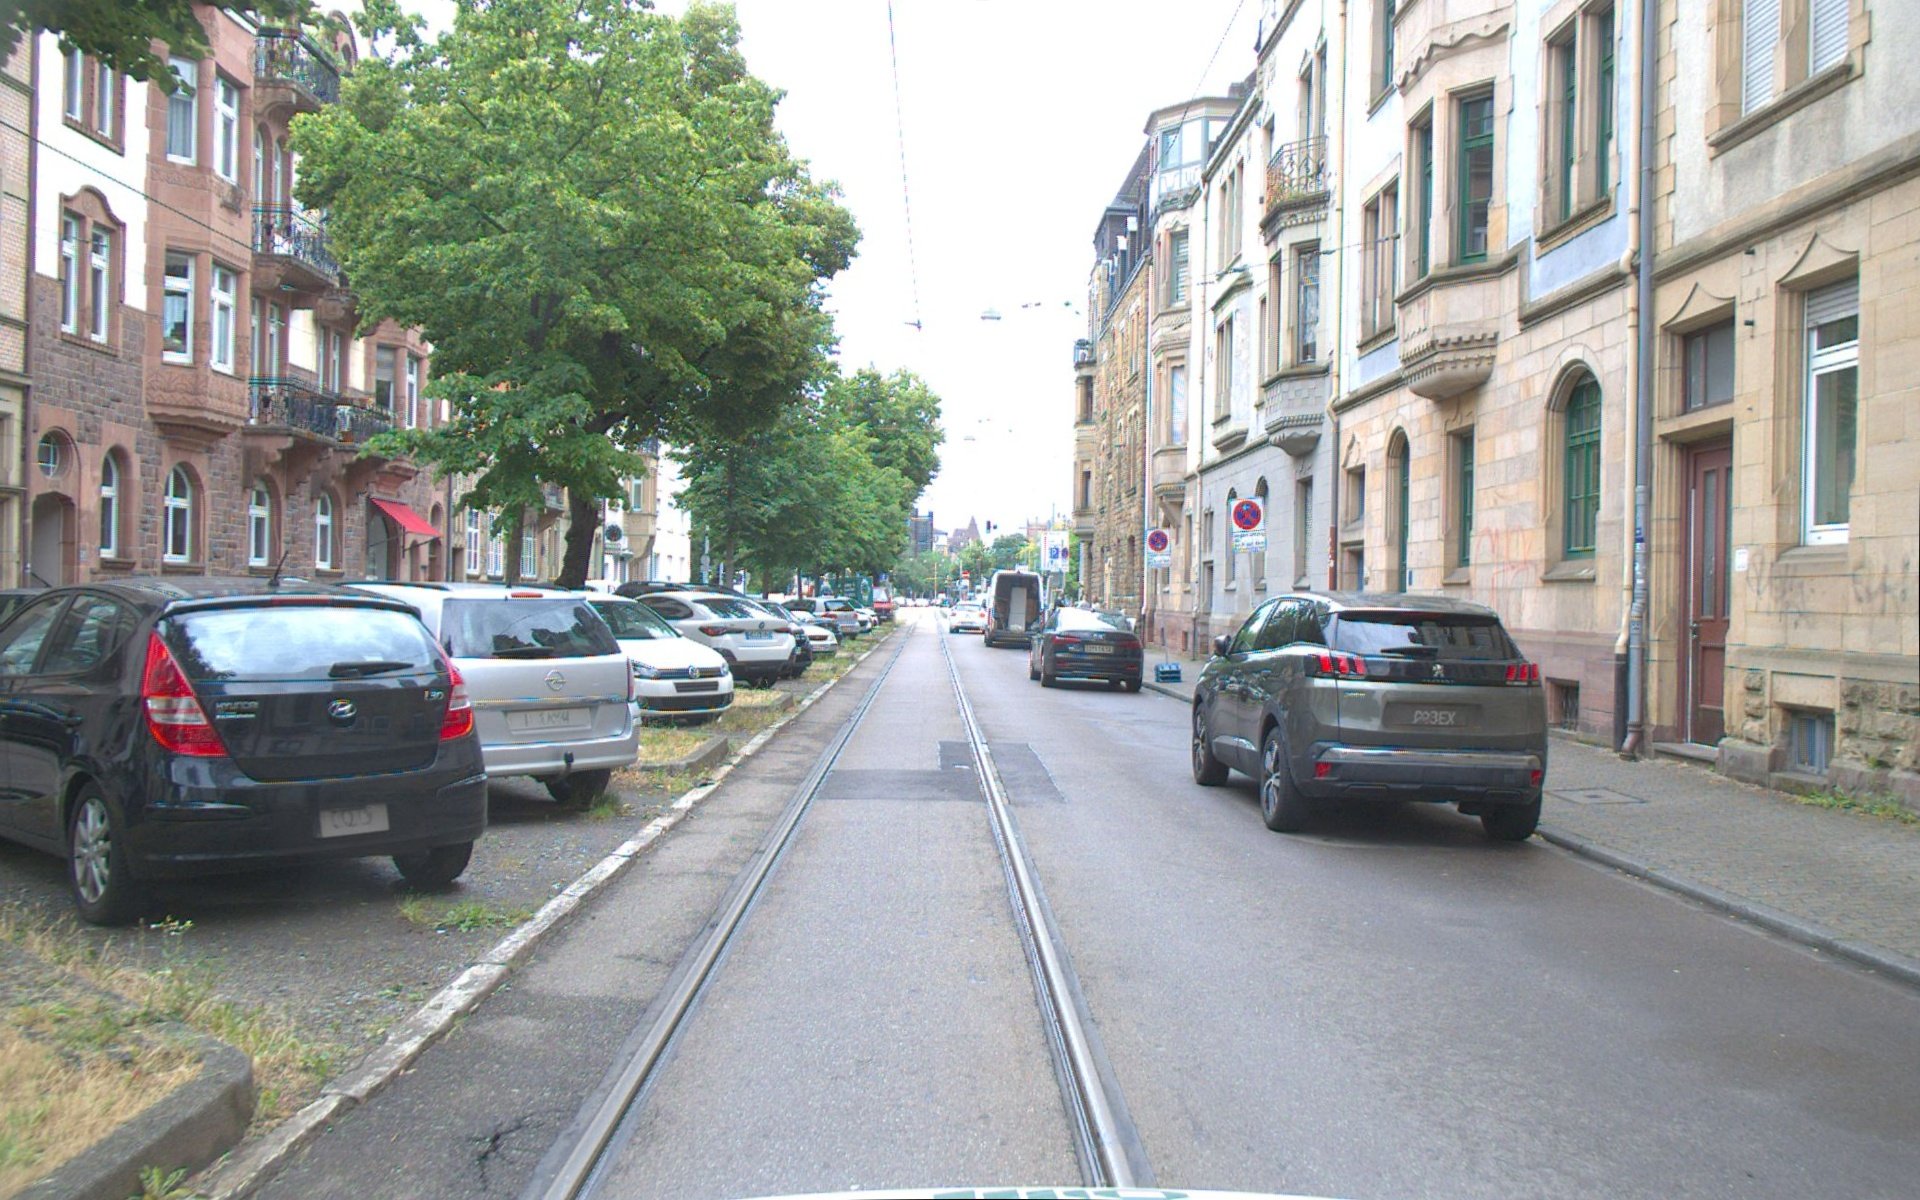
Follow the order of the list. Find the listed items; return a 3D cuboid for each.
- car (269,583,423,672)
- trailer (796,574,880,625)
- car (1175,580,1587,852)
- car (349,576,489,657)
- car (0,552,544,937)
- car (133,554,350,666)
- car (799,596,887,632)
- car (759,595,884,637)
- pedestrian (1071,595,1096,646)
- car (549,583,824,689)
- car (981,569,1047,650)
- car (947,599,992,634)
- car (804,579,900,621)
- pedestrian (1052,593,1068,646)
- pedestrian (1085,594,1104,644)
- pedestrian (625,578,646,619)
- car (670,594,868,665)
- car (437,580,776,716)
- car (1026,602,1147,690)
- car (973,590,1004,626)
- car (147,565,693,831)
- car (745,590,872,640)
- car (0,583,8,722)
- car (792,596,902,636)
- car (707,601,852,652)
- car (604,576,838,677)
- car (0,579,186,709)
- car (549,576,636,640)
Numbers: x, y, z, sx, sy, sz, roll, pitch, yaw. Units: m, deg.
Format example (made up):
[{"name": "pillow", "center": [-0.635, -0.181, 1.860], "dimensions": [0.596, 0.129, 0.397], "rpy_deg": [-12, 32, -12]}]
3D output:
[{"name": "car", "center": [-11.773, 0.520, 31.945], "dimensions": [1.628, 1.587, 3.721], "rpy_deg": [1, 0, -2]}, {"name": "trailer", "center": [-5.915, -0.049, 79.848], "dimensions": [3.593, 2.385, 1.926], "rpy_deg": [1, 0, 32]}, {"name": "car", "center": [2.921, 0.713, 12.601], "dimensions": [1.724, 1.650, 4.692], "rpy_deg": [1, 0, -3]}, {"name": "car", "center": [-11.987, 0.368, 36.919], "dimensions": [1.705, 1.655, 4.552], "rpy_deg": [1, 0, -2]}, {"name": "car", "center": [-3.977, 0.543, 8.511], "dimensions": [3.933, 1.511, 1.764], "rpy_deg": [1, 0, 44]}, {"name": "car", "center": [-11.637, 0.167, 27.125], "dimensions": [1.733, 1.657, 4.319], "rpy_deg": [1, 0, -2]}, {"name": "car", "center": [-5.102, 0.612, 71.918], "dimensions": [3.794, 1.488, 1.680], "rpy_deg": [1, 0, 41]}, {"name": "car", "center": [-5.184, 0.581, 61.601], "dimensions": [4.599, 1.460, 1.890], "rpy_deg": [1, 0, 39]}, {"name": "pedestrian", "center": [4.260, 0.701, 57.010], "dimensions": [0.695, 1.729, 0.488], "rpy_deg": [-1, 0, -29]}, {"name": "car", "center": [-4.420, 0.532, 26.332], "dimensions": [4.463, 1.516, 2.023], "rpy_deg": [1, -1, 43]}, {"name": "car", "center": [1.858, 0.317, 58.890], "dimensions": [1.972, 2.593, 7.016], "rpy_deg": [3, 0, 0]}, {"name": "car", "center": [0.461, 0.740, 75.856], "dimensions": [1.745, 1.498, 4.012], "rpy_deg": [1, 0, 4]}, {"name": "car", "center": [-5.404, -0.008, 82.689], "dimensions": [4.675, 2.009, 1.951], "rpy_deg": [1, 0, 38]}, {"name": "pedestrian", "center": [3.483, 0.677, 57.736], "dimensions": [0.488, 1.847, 0.803], "rpy_deg": [-1, 0, 0]}, {"name": "pedestrian", "center": [4.714, 0.666, 57.862], "dimensions": [0.499, 1.747, 0.579], "rpy_deg": [-1, 0, -11]}, {"name": "pedestrian", "center": [-14.630, -0.062, 74.579], "dimensions": [0.781, 1.797, 0.900], "rpy_deg": [1, 0, -2]}, {"name": "car", "center": [-4.276, 0.618, 36.583], "dimensions": [4.585, 1.392, 1.747], "rpy_deg": [1, 0, 42]}, {"name": "car", "center": [-4.145, 0.497, 19.035], "dimensions": [4.059, 1.335, 1.851], "rpy_deg": [2, 0, 44]}, {"name": "car", "center": [2.332, 0.812, 31.681], "dimensions": [1.764, 1.463, 5.194], "rpy_deg": [1, 0, -2]}, {"name": "car", "center": [1.679, 0.461, 97.139], "dimensions": [1.746, 1.997, 4.382], "rpy_deg": [1, 0, 0]}, {"name": "car", "center": [-3.994, 0.554, 11.773], "dimensions": [1.850, 1.519, 4.489], "rpy_deg": [2, -1, -45]}, {"name": "car", "center": [-4.974, 0.483, 53.984], "dimensions": [4.041, 1.510, 1.788], "rpy_deg": [1, 0, 40]}, {"name": "car", "center": [-11.259, 0.535, 15.873], "dimensions": [1.768, 1.516, 4.386], "rpy_deg": [1, 0, -2]}, {"name": "car", "center": [-4.504, 0.617, 65.668], "dimensions": [4.262, 1.460, 1.888], "rpy_deg": [1, 0, 41]}, {"name": "car", "center": [-4.786, 0.679, 43.636], "dimensions": [3.894, 1.223, 1.657], "rpy_deg": [1, 0, 43]}, {"name": "car", "center": [-4.329, 0.440, 29.553], "dimensions": [4.454, 1.662, 1.754], "rpy_deg": [1, -1, 43]}, {"name": "car", "center": [-11.613, 0.497, 20.875], "dimensions": [1.768, 1.463, 4.228], "rpy_deg": [1, 0, -2]}, {"name": "car", "center": [-12.164, 0.284, 54.994], "dimensions": [1.843, 1.986, 5.092], "rpy_deg": [1, 0, -2]}]
